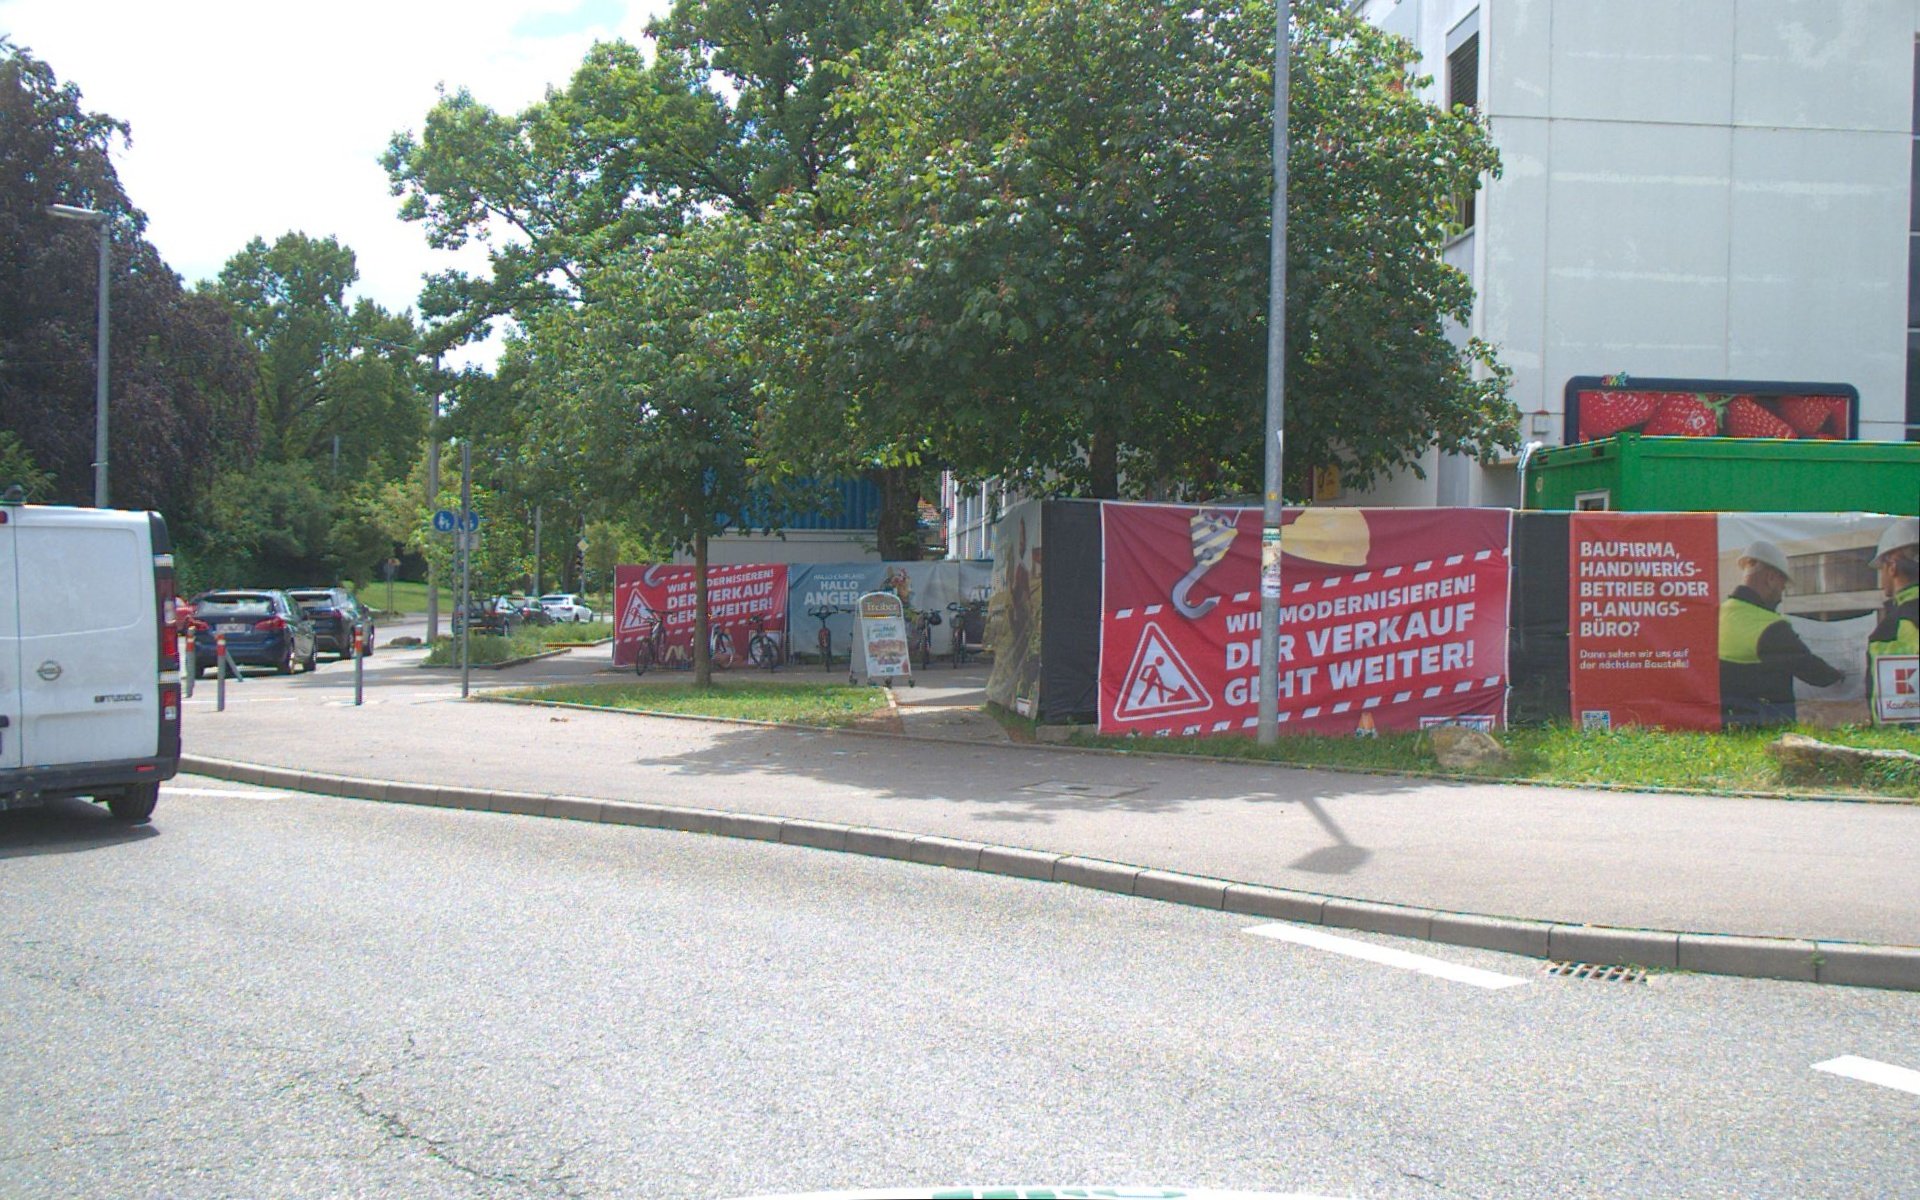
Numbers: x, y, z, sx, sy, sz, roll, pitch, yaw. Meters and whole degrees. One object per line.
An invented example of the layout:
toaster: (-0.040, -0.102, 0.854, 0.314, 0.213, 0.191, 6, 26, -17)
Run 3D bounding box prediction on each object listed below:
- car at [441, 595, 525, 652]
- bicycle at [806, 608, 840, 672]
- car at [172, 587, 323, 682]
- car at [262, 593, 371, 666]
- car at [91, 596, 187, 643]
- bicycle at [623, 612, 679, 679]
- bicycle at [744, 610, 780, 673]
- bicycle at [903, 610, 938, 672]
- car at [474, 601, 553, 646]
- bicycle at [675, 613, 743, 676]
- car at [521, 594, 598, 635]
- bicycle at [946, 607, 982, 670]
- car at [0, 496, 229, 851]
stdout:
car: (-16.362, 0.765, 56.922, 1.859, 1.775, 3.924, 1, 1, -2)
bicycle: (-2.589, 0.743, 31.361, 0.518, 1.113, 2.070, 2, 1, -2)
car: (-13.253, 0.600, 30.997, 1.899, 1.564, 3.912, 1, 1, -13)
car: (-14.973, 0.654, 38.653, 1.887, 1.526, 3.911, 1, 1, -14)
car: (-27.823, 0.624, 56.178, 2.027, 1.410, 4.035, 1, 1, -13)
bicycle: (-5.790, 0.839, 31.052, 0.617, 1.147, 1.969, 2, 1, 1)
bicycle: (-3.713, 0.768, 31.094, 0.618, 1.067, 2.068, 2, 1, -7)
bicycle: (-0.753, 0.763, 31.459, 0.617, 1.067, 1.968, 2, 1, -1)
car: (-16.804, 0.872, 62.482, 2.021, 1.502, 3.924, 1, 1, -2)
bicycle: (-4.687, 0.815, 31.017, 0.616, 1.067, 2.073, 3, 1, 9)
car: (-16.374, 0.565, 67.723, 2.020, 1.526, 3.927, 1, 1, 3)
bicycle: (0.088, 0.710, 31.160, 0.617, 1.082, 1.969, 2, 1, 1)
car: (-6.837, 0.298, 11.161, 2.024, 1.979, 4.918, 2, 1, -42)
